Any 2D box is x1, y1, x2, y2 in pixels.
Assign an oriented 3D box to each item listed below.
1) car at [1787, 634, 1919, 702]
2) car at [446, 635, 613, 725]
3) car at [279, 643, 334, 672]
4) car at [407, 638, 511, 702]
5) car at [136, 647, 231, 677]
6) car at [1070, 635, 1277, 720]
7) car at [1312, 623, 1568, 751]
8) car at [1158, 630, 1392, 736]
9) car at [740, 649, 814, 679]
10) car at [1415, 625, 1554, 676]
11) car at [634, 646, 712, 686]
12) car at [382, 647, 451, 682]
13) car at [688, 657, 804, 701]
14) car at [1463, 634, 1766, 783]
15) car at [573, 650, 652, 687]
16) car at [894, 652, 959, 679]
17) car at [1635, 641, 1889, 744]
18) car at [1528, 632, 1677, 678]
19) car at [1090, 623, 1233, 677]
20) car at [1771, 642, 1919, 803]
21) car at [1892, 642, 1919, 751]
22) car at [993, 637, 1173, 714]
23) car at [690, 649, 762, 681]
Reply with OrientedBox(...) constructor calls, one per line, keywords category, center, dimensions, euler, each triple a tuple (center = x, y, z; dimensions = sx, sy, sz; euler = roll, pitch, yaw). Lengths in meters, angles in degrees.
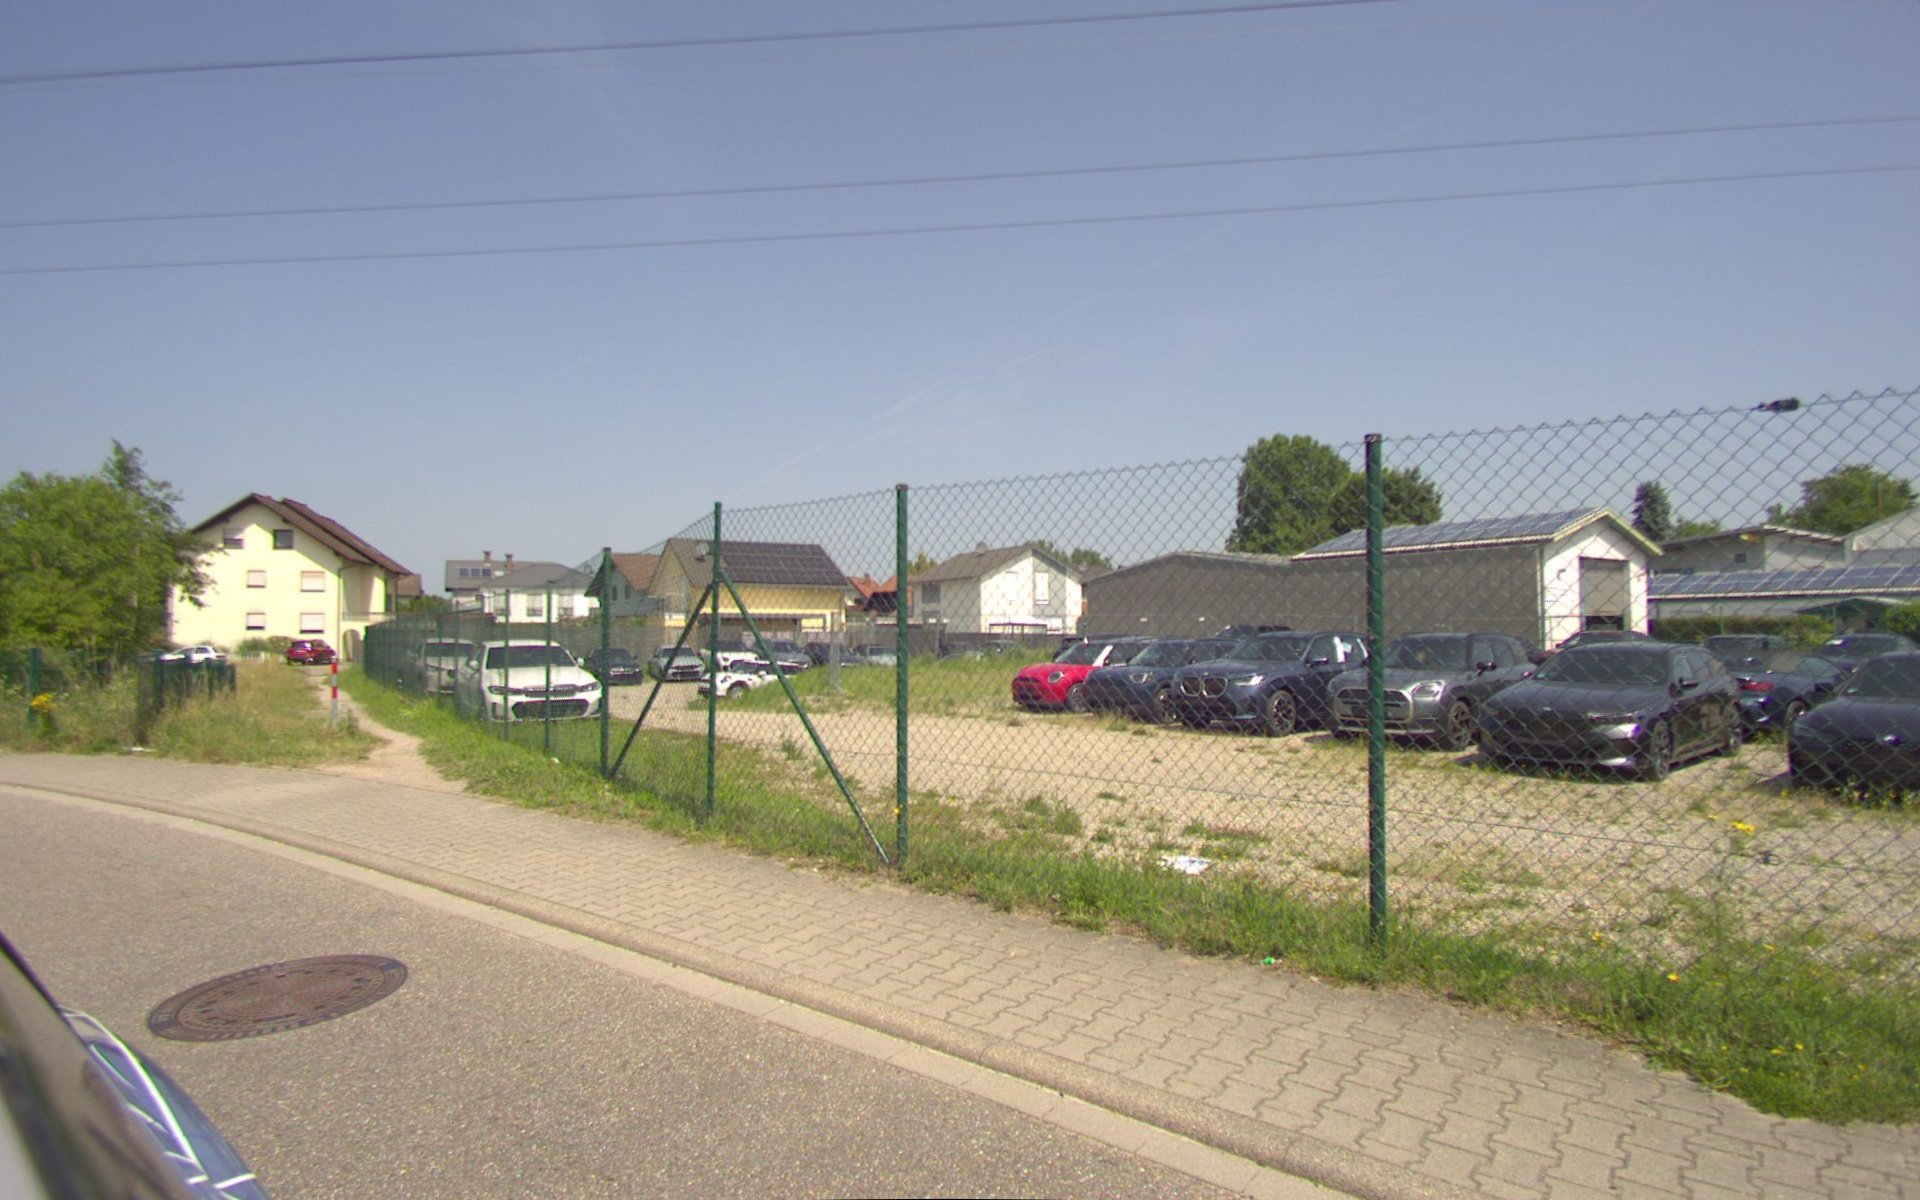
OrientedBox(category="car", center=(21.311, 1.515, 23.549), dimensions=(4.587, 1.446, 2.007), euler=(1, -2, -35))
OrientedBox(category="car", center=(-7.579, 1.280, 17.559), dimensions=(1.837, 1.317, 4.574), euler=(1, -2, -34))
OrientedBox(category="car", center=(-41.739, 3.613, 64.708), dimensions=(1.835, 1.741, 4.147), euler=(1, -2, -17))
OrientedBox(category="car", center=(-13.942, 1.869, 28.037), dimensions=(2.008, 1.574, 4.450), euler=(1, -2, -34))
OrientedBox(category="car", center=(-45.476, 3.603, 59.383), dimensions=(4.016, 1.697, 1.870), euler=(0, -2, -17))
OrientedBox(category="car", center=(4.052, 1.394, 19.087), dimensions=(3.588, 1.444, 1.873), euler=(1, -2, -35))
OrientedBox(category="car", center=(7.120, 1.193, 14.948), dimensions=(3.573, 1.656, 1.873), euler=(1, -2, -35))
OrientedBox(category="car", center=(5.258, 1.296, 16.829), dimensions=(3.635, 1.573, 1.873), euler=(1, -2, -35))
OrientedBox(category="car", center=(-8.332, 2.865, 45.836), dimensions=(1.764, 1.245, 4.146), euler=(1, -2, -34))
OrientedBox(category="car", center=(16.080, 1.513, 30.981), dimensions=(4.527, 1.444, 1.873), euler=(1, -2, -35))
OrientedBox(category="car", center=(-12.344, 2.795, 43.369), dimensions=(2.008, 1.548, 4.146), euler=(1, -2, -34))
OrientedBox(category="car", center=(-19.790, 2.296, 36.786), dimensions=(1.836, 1.116, 4.015), euler=(1, -2, -34))
OrientedBox(category="car", center=(-7.022, 2.559, 33.285), dimensions=(3.334, 1.325, 1.663), euler=(1, -2, -33))
OrientedBox(category="car", center=(8.151, 1.211, 12.545), dimensions=(3.707, 1.566, 1.873), euler=(1, -2, -35))
OrientedBox(category="car", center=(-14.362, 2.781, 41.644), dimensions=(2.008, 1.353, 4.429), euler=(1, -2, -34))
OrientedBox(category="car", center=(-1.737, 3.284, 51.329), dimensions=(1.763, 1.245, 3.619), euler=(1, -2, -31))
OrientedBox(category="car", center=(12.996, 1.404, 16.373), dimensions=(3.932, 1.431, 2.006), euler=(1, -2, -32))
OrientedBox(category="car", center=(17.873, 1.494, 28.103), dimensions=(4.527, 1.184, 1.873), euler=(1, -2, -35))
OrientedBox(category="car", center=(5.264, 1.270, 26.353), dimensions=(3.384, 1.308, 1.873), euler=(2, -2, -37))
OrientedBox(category="car", center=(10.600, 1.178, 10.622), dimensions=(4.587, 1.446, 2.007), euler=(1, -2, -35))
OrientedBox(category="car", center=(15.046, 1.295, 13.974), dimensions=(4.346, 1.446, 2.008), euler=(1, -2, -31))
OrientedBox(category="car", center=(2.596, 1.516, 21.255), dimensions=(3.383, 1.464, 1.873), euler=(1, -2, -35))
OrientedBox(category="car", center=(-10.362, 2.838, 44.670), dimensions=(1.764, 1.245, 4.146), euler=(1, -2, -34))
